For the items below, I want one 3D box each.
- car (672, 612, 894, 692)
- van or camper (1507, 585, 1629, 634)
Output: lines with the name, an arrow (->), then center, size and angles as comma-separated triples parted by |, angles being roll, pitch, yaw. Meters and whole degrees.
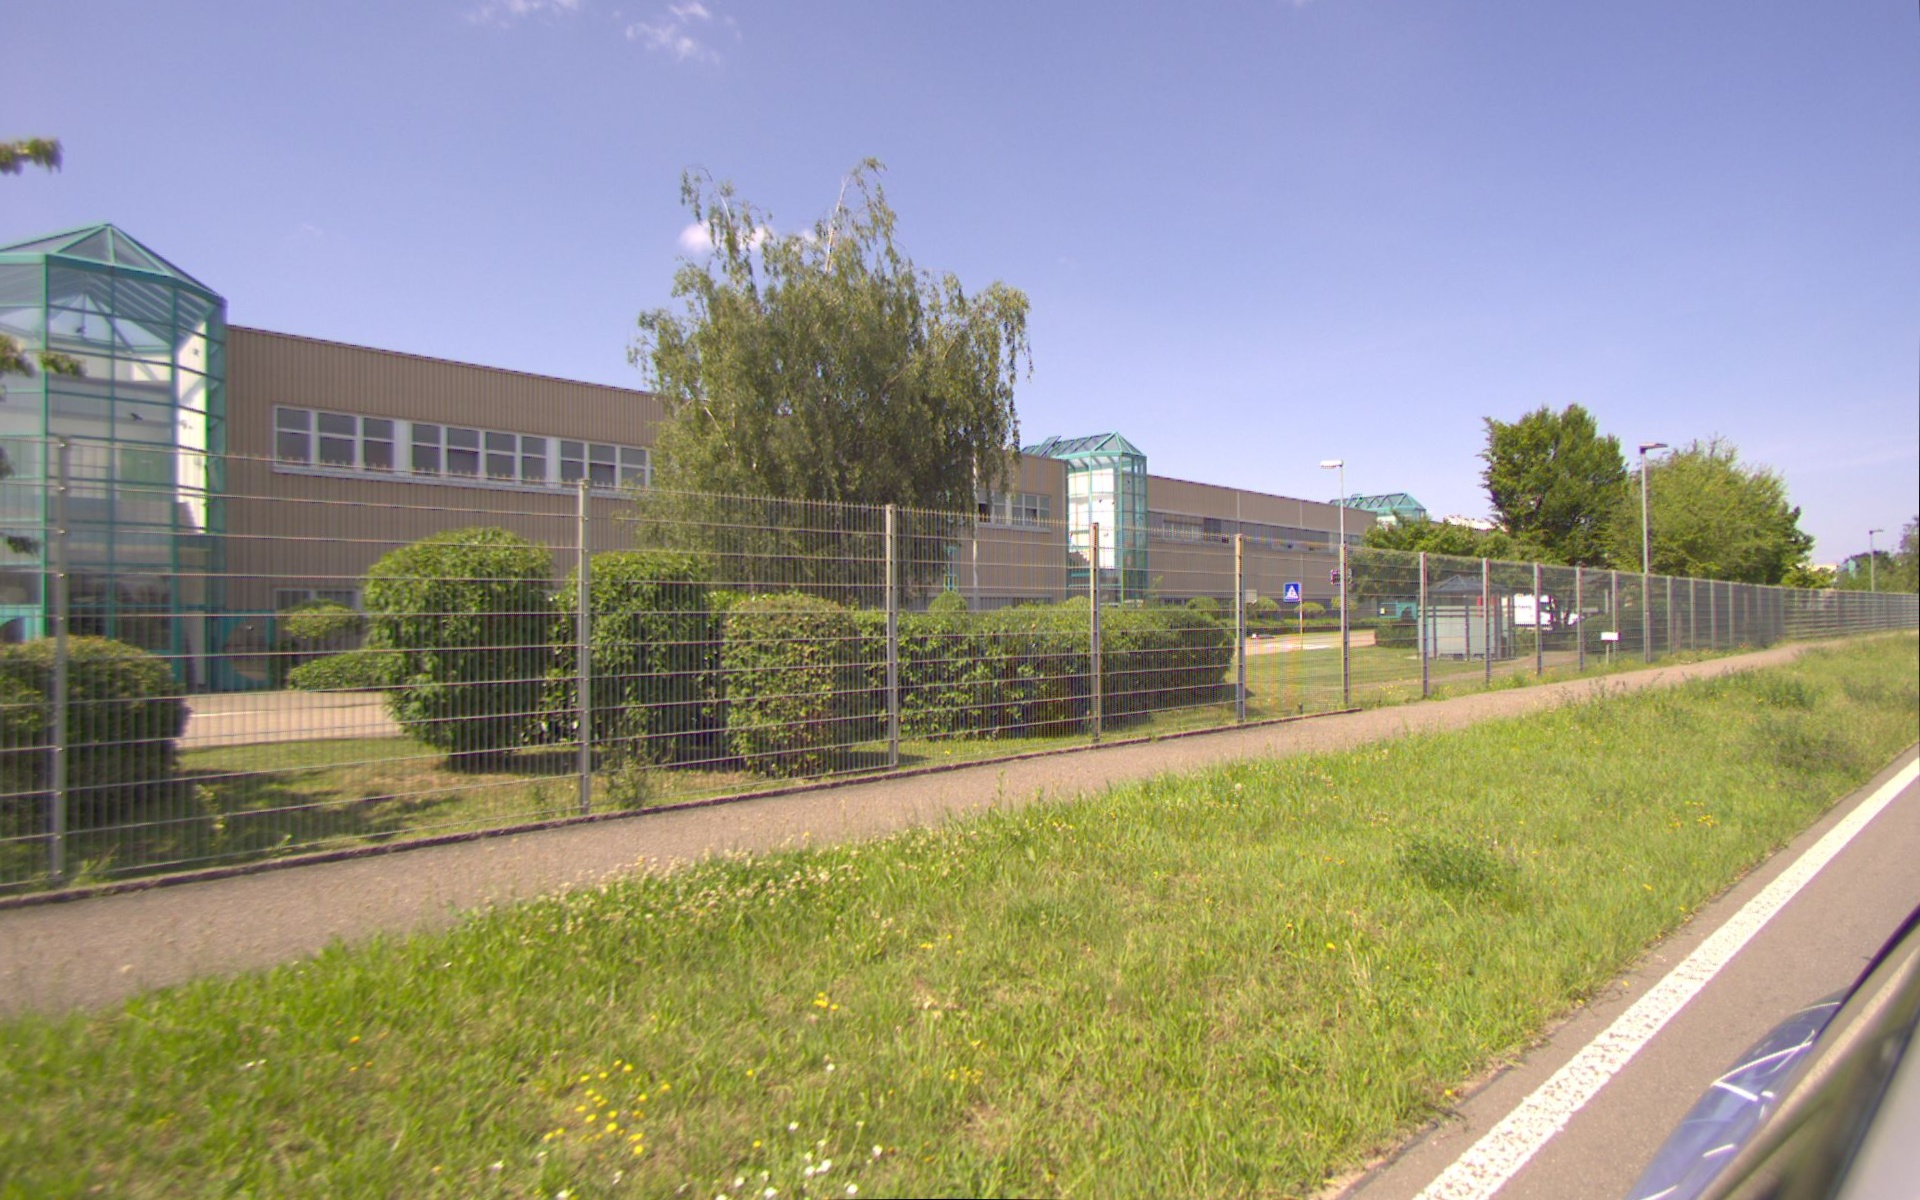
car -> -4.413, 1.247, 26.147 | 2.107, 1.802, 5.570 | -2, -1, 41
van or camper -> 35.953, 0.587, 59.997 | 5.768, 2.551, 1.968 | -5, -4, 44
